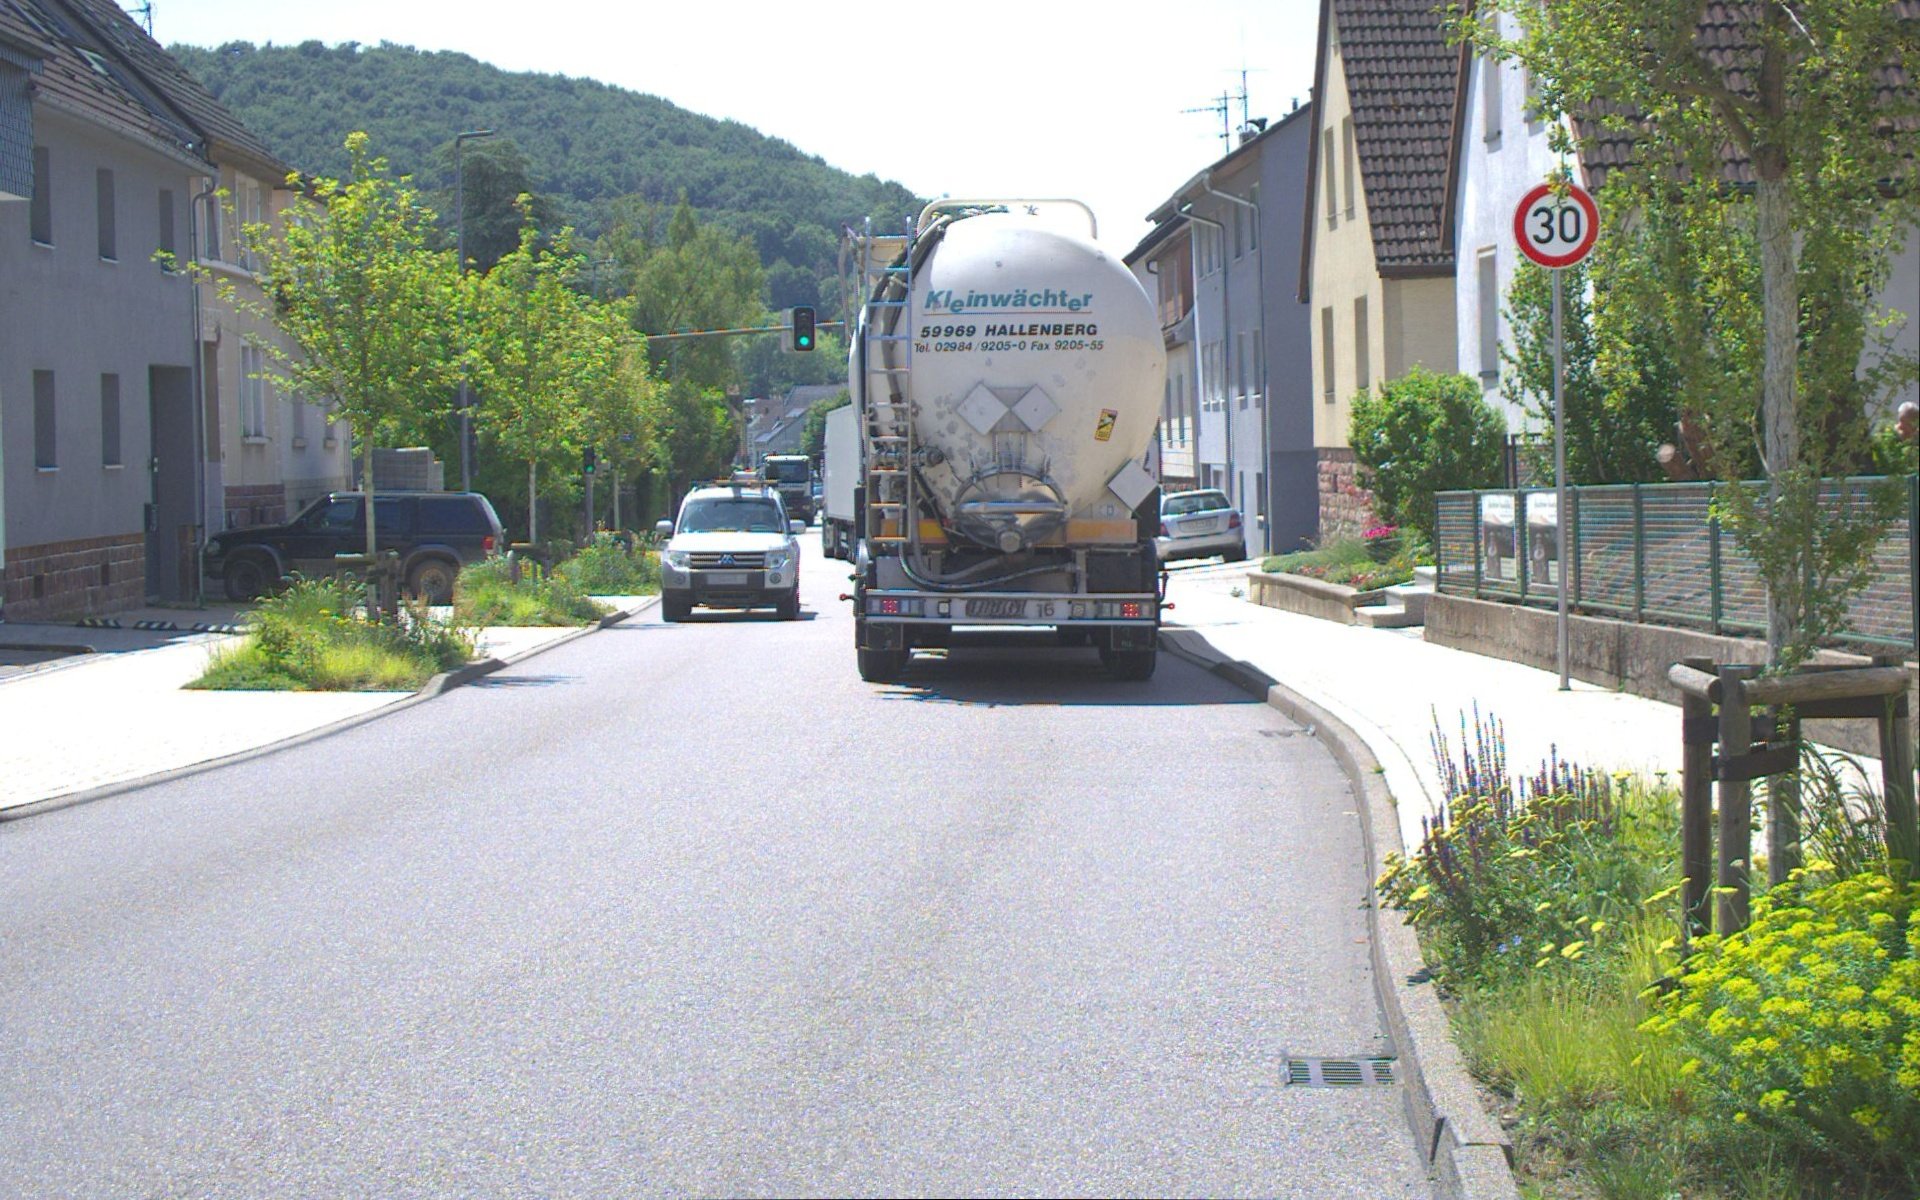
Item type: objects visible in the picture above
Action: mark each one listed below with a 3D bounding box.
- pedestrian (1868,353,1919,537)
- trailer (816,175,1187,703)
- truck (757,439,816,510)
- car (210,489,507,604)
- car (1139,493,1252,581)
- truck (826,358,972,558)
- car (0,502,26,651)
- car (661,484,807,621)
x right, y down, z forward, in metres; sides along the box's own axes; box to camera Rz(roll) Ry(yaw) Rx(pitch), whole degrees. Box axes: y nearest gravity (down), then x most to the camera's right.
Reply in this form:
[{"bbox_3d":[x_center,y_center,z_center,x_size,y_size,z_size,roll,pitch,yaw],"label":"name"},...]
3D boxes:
[{"bbox_3d":[8.605,-1.402,30.845,0.604,1.610,0.552,-6,2,-1],"label":"pedestrian"},{"bbox_3d":[0.209,-1.381,31.294,2.796,3.987,10.325,0,2,-1],"label":"trailer"},{"bbox_3d":[-8.509,-6.161,169.398,2.728,3.360,8.636,0,2,-2],"label":"truck"},{"bbox_3d":[-9.477,-0.860,54.404,4.394,1.744,1.878,-1,2,-2],"label":"car"},{"bbox_3d":[4.424,-1.206,65.131,1.791,1.536,4.520,-2,1,0],"label":"car"},{"bbox_3d":[-1.656,-3.424,86.988,2.846,4.662,11.341,1,0,-5],"label":"truck"},{"bbox_3d":[-11.912,-0.231,35.598,3.987,1.540,1.832,0,2,-1],"label":"car"},{"bbox_3d":[-3.177,-0.705,49.096,1.889,1.854,4.578,0,1,-1],"label":"car"}]
